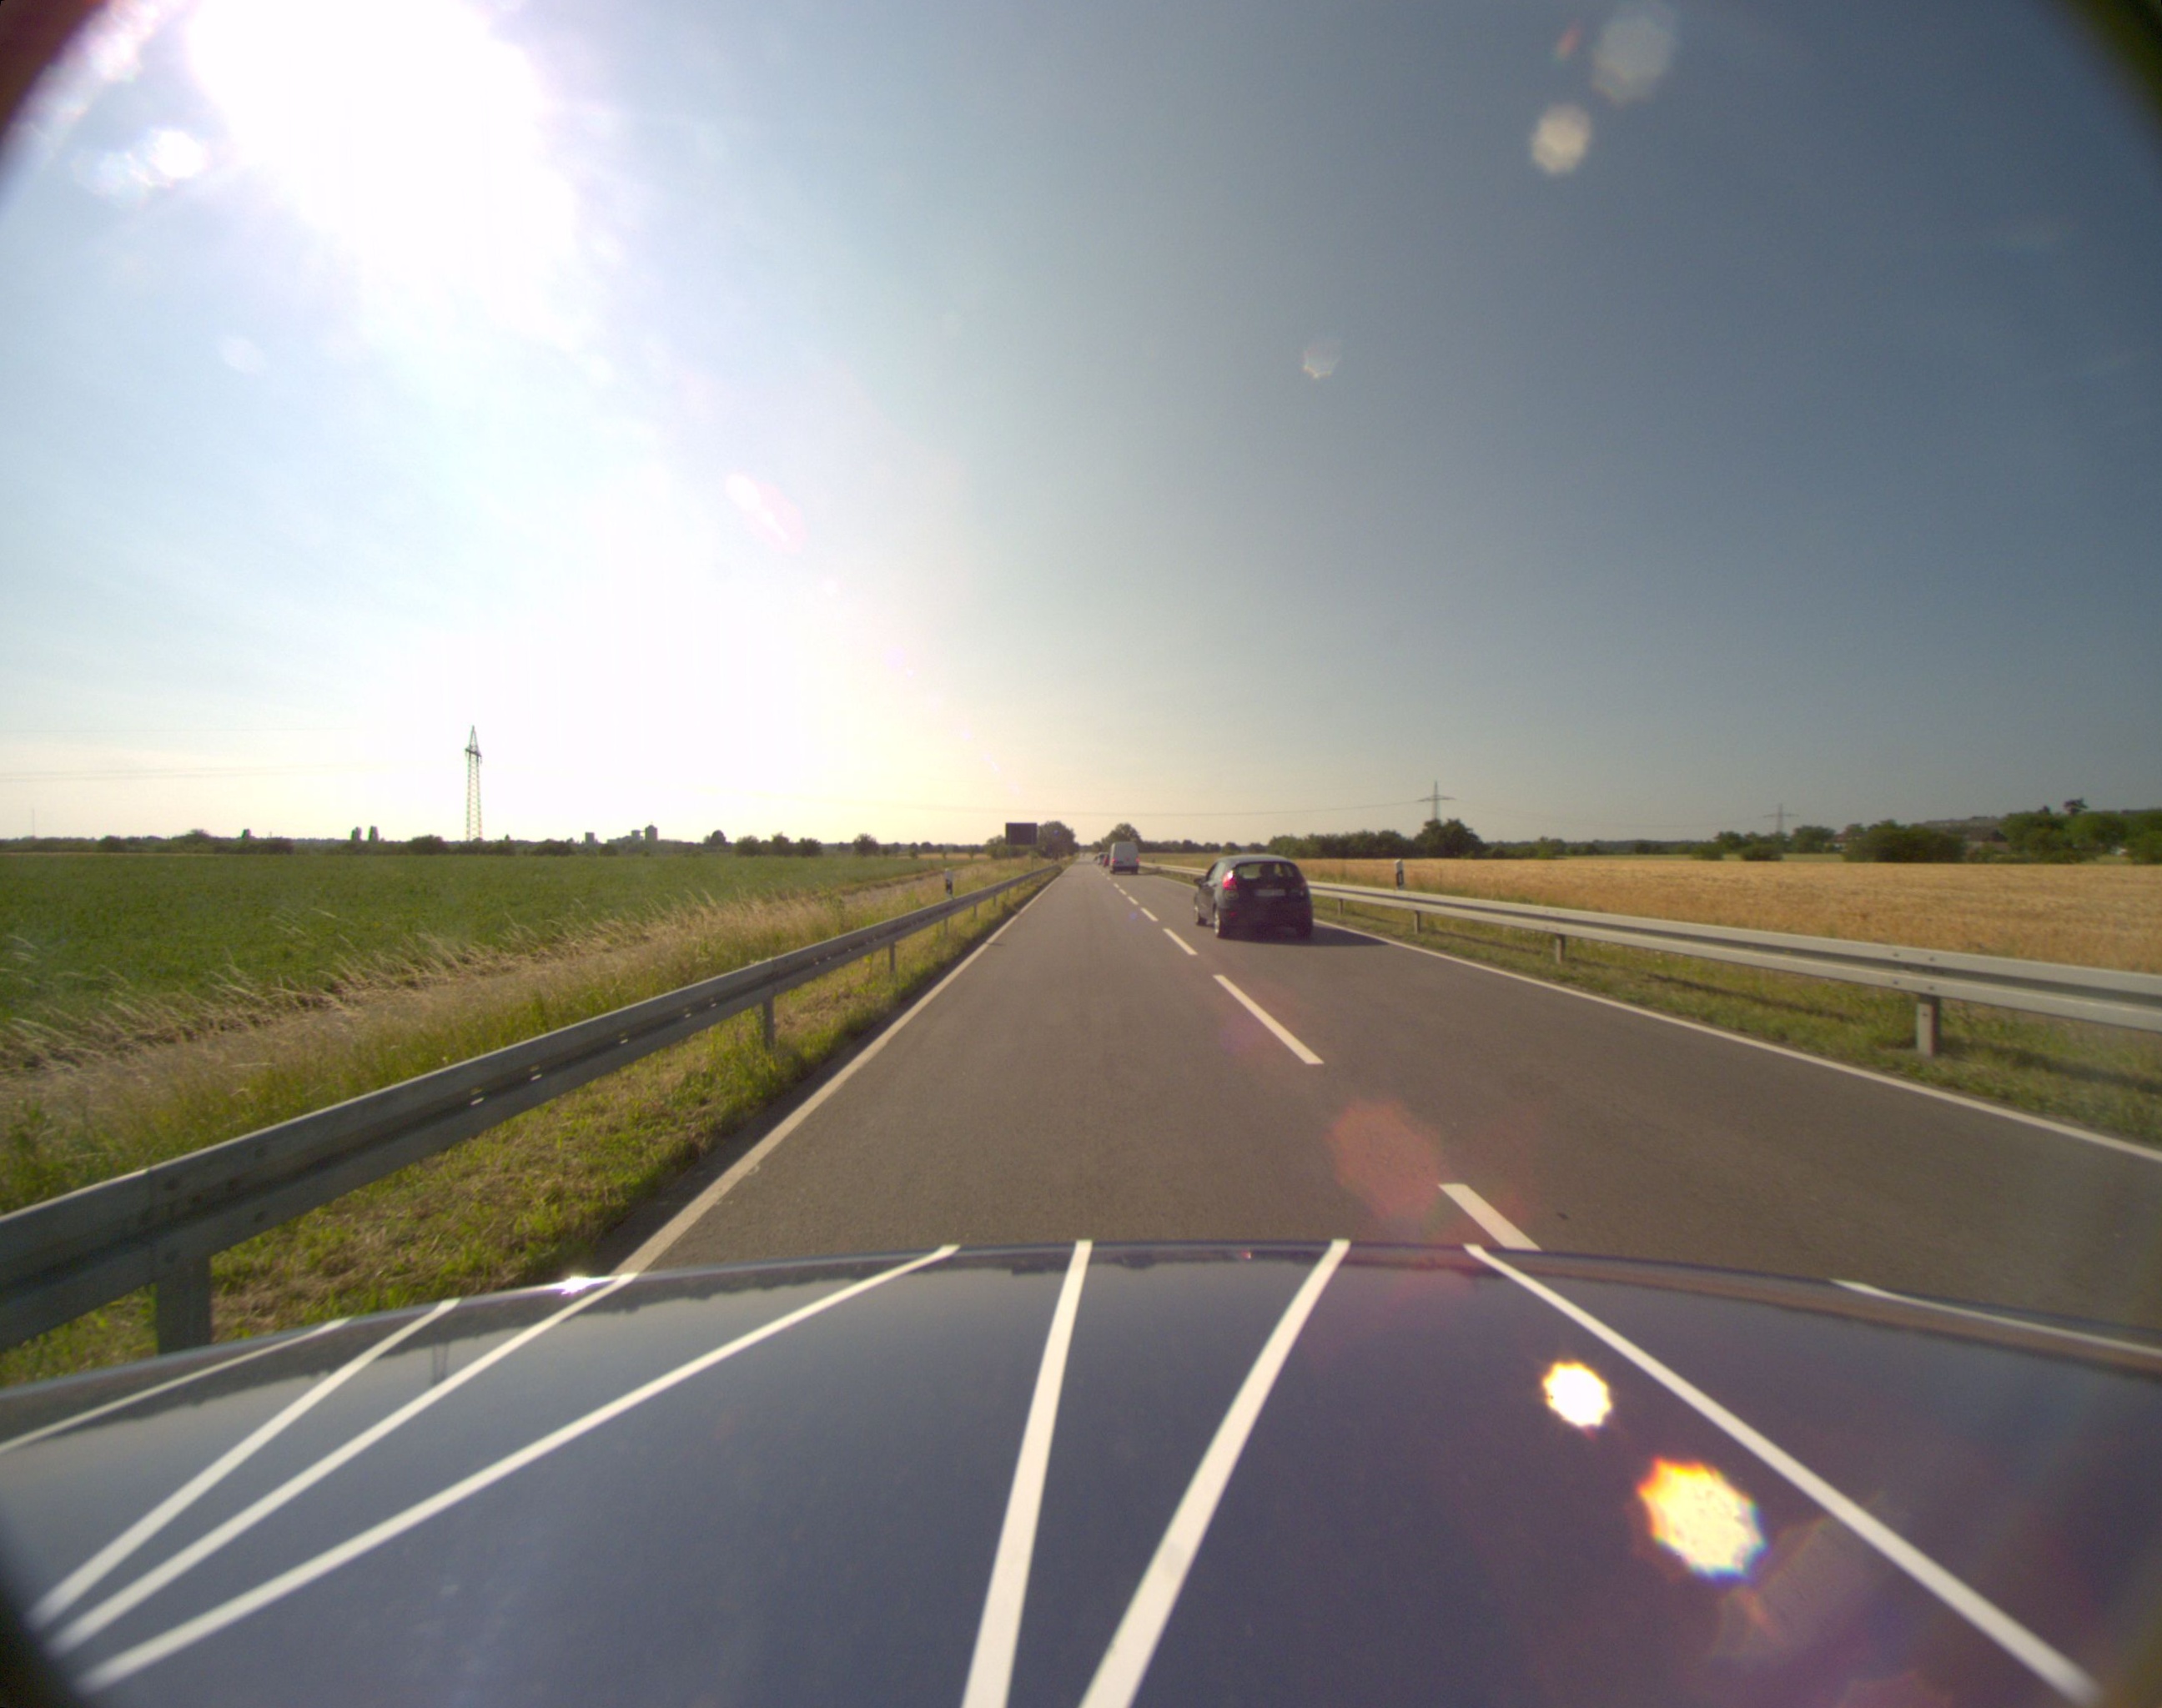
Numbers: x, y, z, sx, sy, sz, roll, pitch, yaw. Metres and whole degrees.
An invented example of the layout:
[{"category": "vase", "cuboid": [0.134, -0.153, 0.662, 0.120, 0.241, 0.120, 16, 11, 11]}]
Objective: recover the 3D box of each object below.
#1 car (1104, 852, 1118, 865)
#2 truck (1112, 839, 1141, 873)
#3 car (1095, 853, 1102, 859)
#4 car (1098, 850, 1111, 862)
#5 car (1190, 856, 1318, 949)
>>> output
[{"category": "car", "cuboid": [3.610, 0.480, 91.347, 1.611, 1.479, 3.780, -1, 0, 0]}, {"category": "truck", "cuboid": [3.571, 0.143, 60.894, 1.998, 2.505, 6.243, -1, 0, 0]}, {"category": "car", "cuboid": [4.607, 0.509, 198.246, 1.731, 1.429, 4.515, -1, 1, 0]}, {"category": "car", "cuboid": [3.515, 0.304, 115.692, 1.841, 1.776, 4.434, -1, 0, 1]}, {"category": "car", "cuboid": [3.136, 0.808, 14.487, 1.648, 1.463, 3.807, -1, 0, 2]}]
